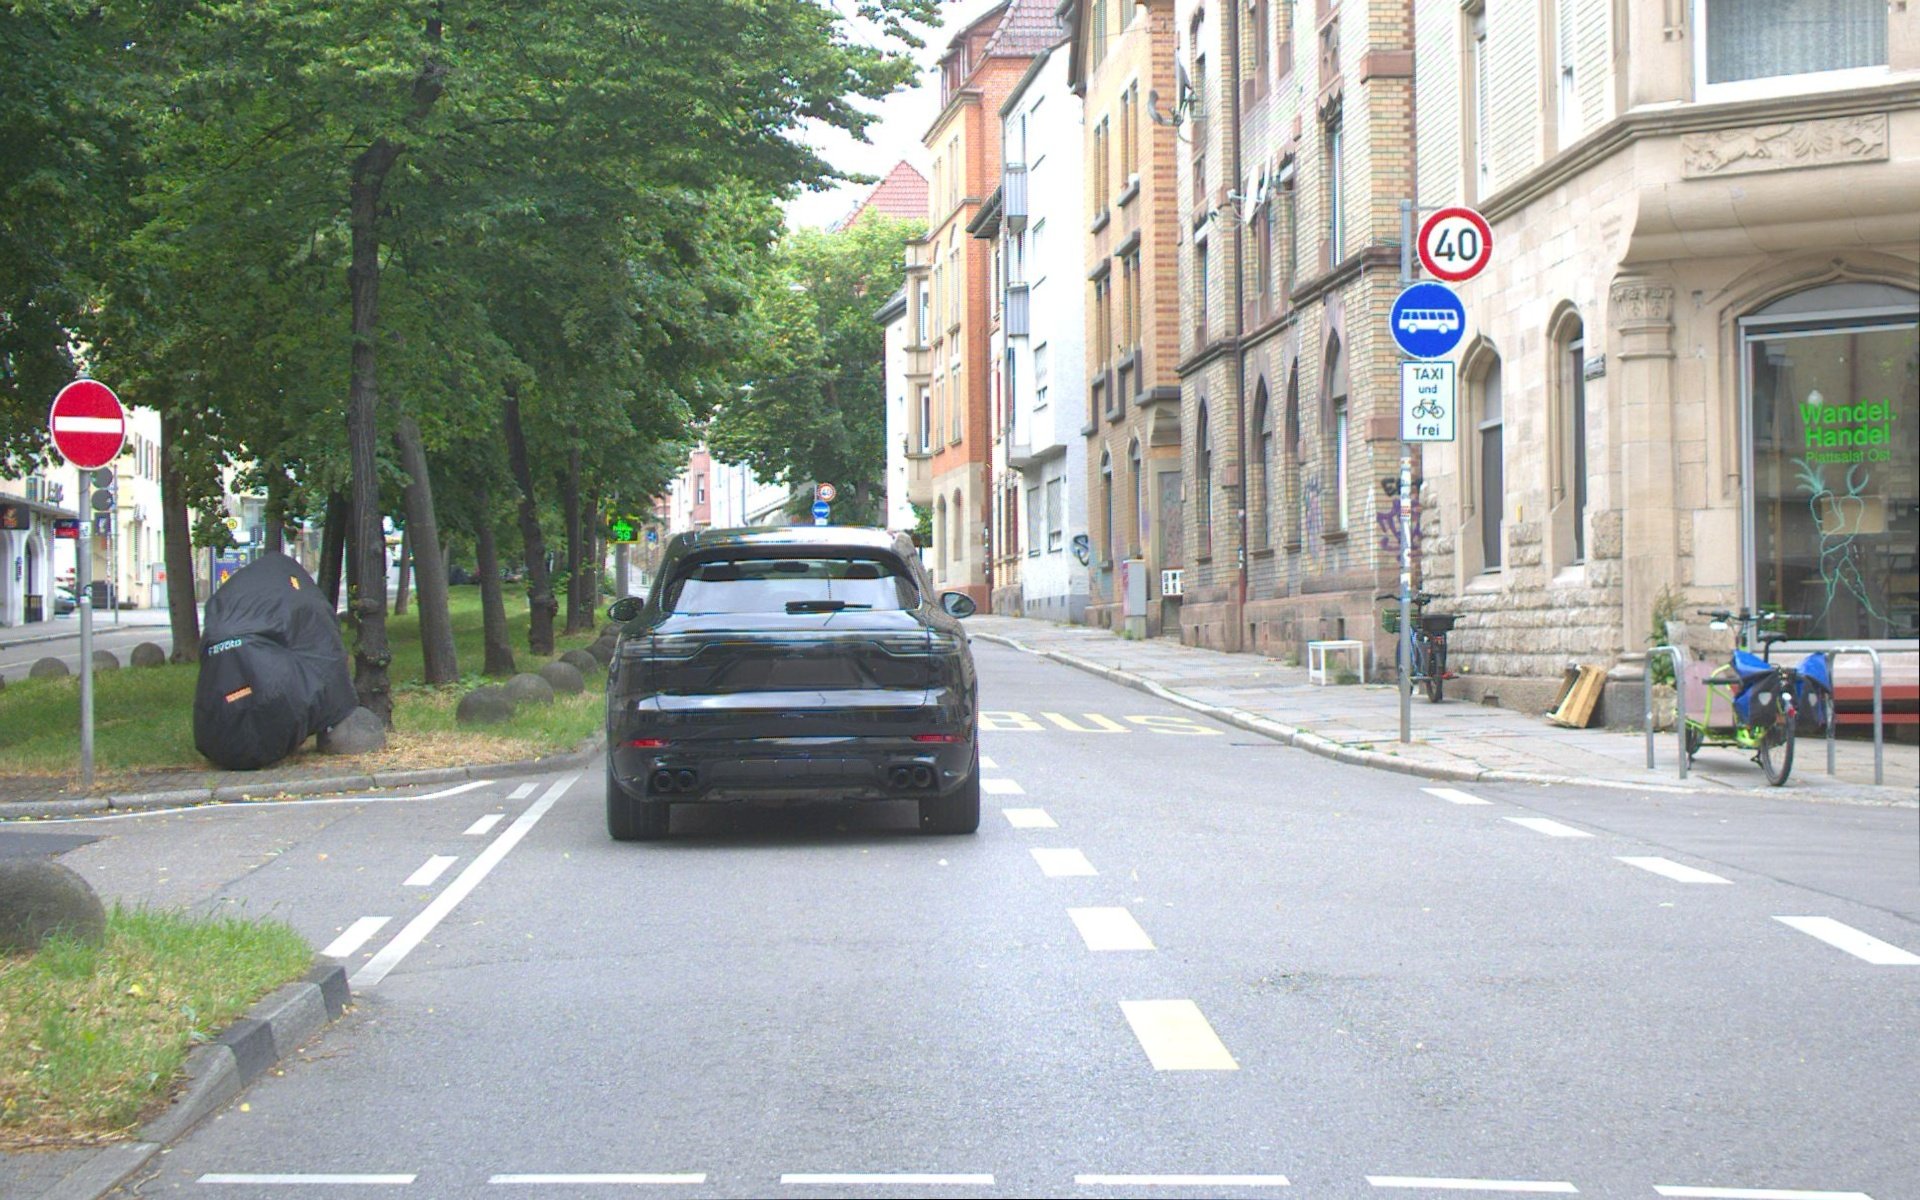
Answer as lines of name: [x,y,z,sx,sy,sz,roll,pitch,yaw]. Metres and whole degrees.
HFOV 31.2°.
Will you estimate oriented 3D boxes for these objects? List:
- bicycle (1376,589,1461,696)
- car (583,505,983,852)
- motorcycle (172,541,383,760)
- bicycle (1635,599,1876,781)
bicycle: [4.577,0.416,34.414,0.446,1.033,2.249,-1,0,-2]
car: [-1.029,0.346,19.368,1.993,1.659,4.001,1,3,-4]
motorcycle: [-4.771,0.328,24.198,1.019,1.441,2.247,-2,0,-1]
bicycle: [5.324,0.570,23.238,0.879,1.125,2.979,0,0,-1]
